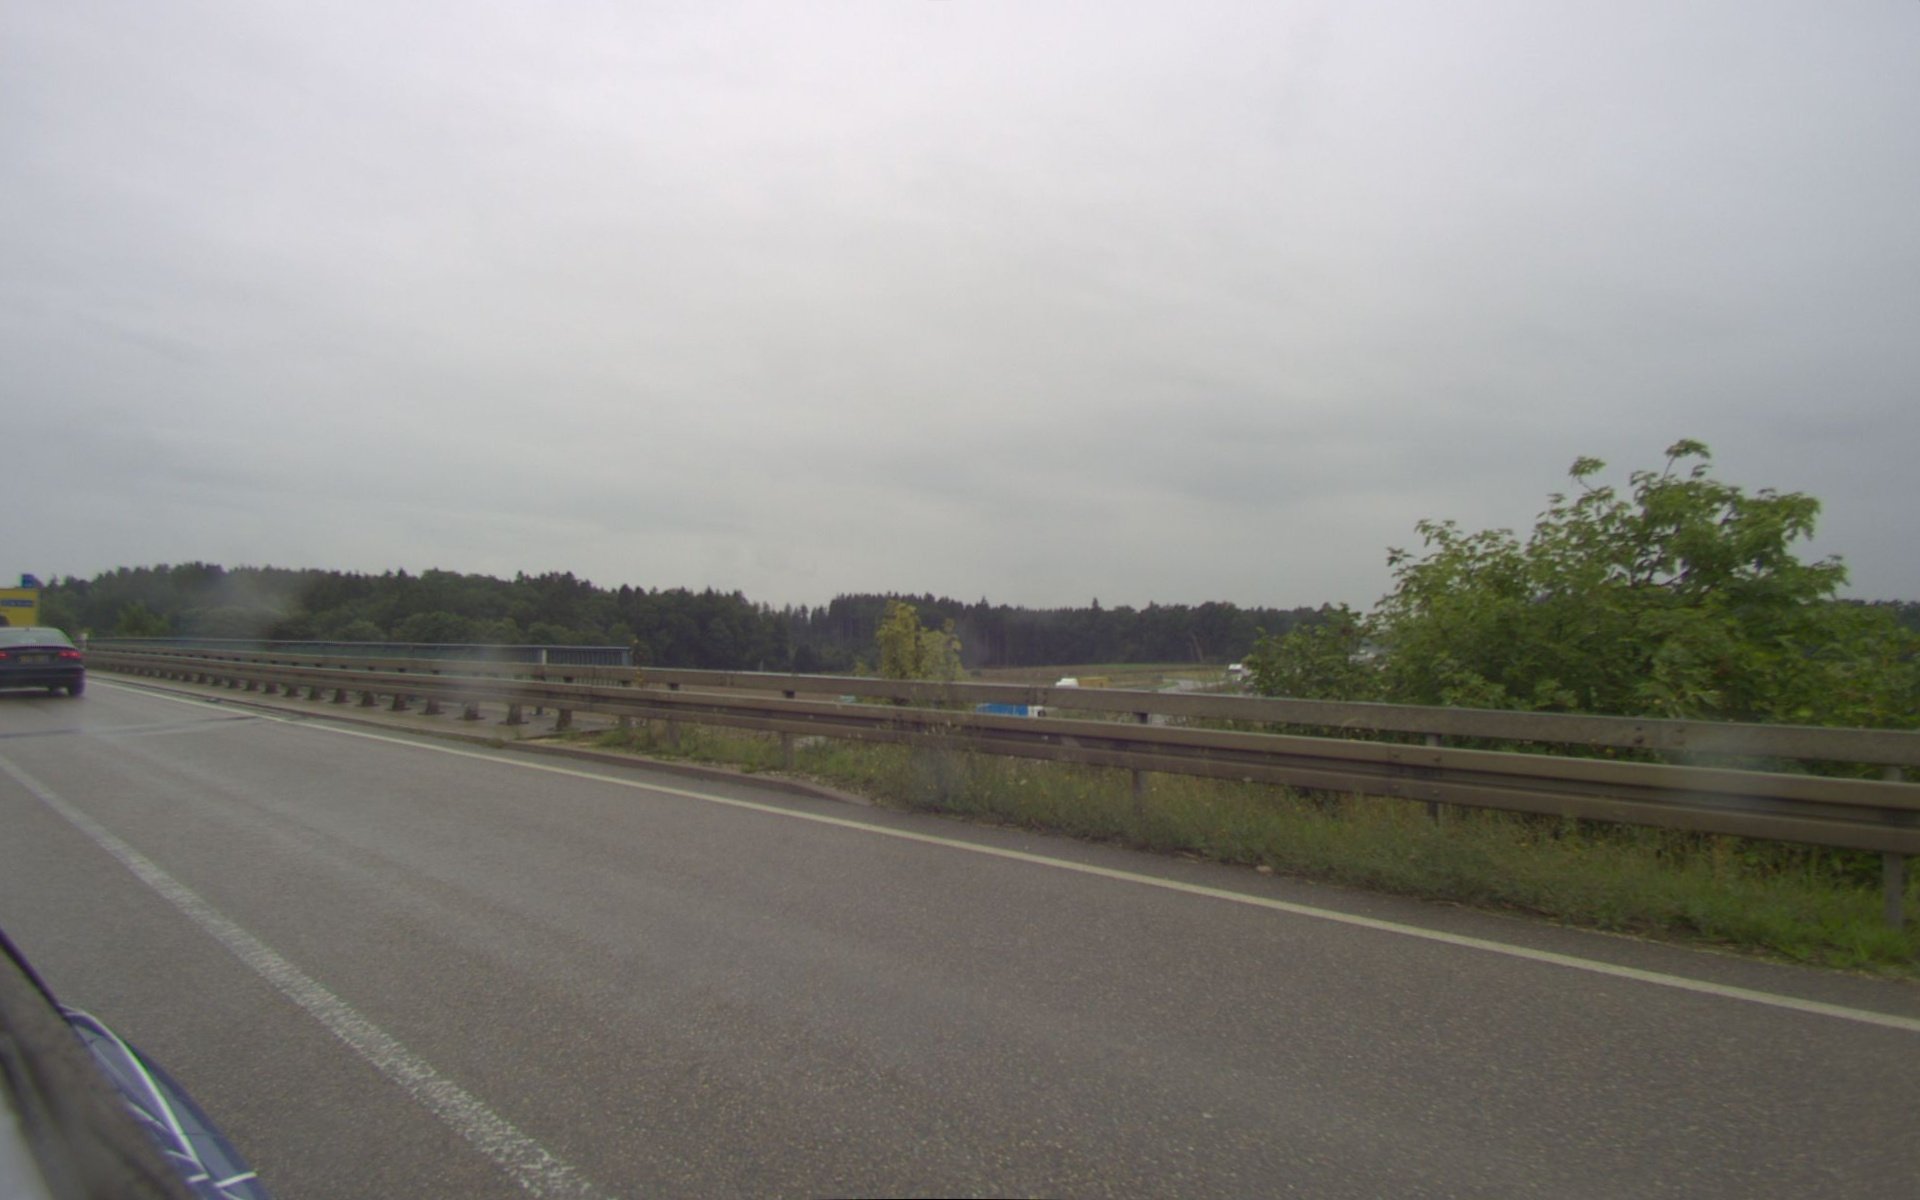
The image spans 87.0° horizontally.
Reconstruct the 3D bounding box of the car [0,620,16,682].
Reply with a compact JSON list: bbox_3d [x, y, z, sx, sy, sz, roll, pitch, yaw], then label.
[{"bbox_3d":[-30.709,1.562,31.082,4.930,1.851,2.043,-2,-4,42],"label":"car"}]

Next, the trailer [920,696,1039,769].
[{"bbox_3d":[1.813,9.743,76.302,2.868,4.251,14.230,-2,-3,28],"label":"trailer"}]

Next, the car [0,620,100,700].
[{"bbox_3d":[-19.643,1.231,21.188,4.066,1.549,1.820,-2,-3,40],"label":"car"}]

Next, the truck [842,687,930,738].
[{"bbox_3d":[-6.605,10.229,93.089,2.774,3.899,10.537,-1,-2,29],"label":"truck"}]
